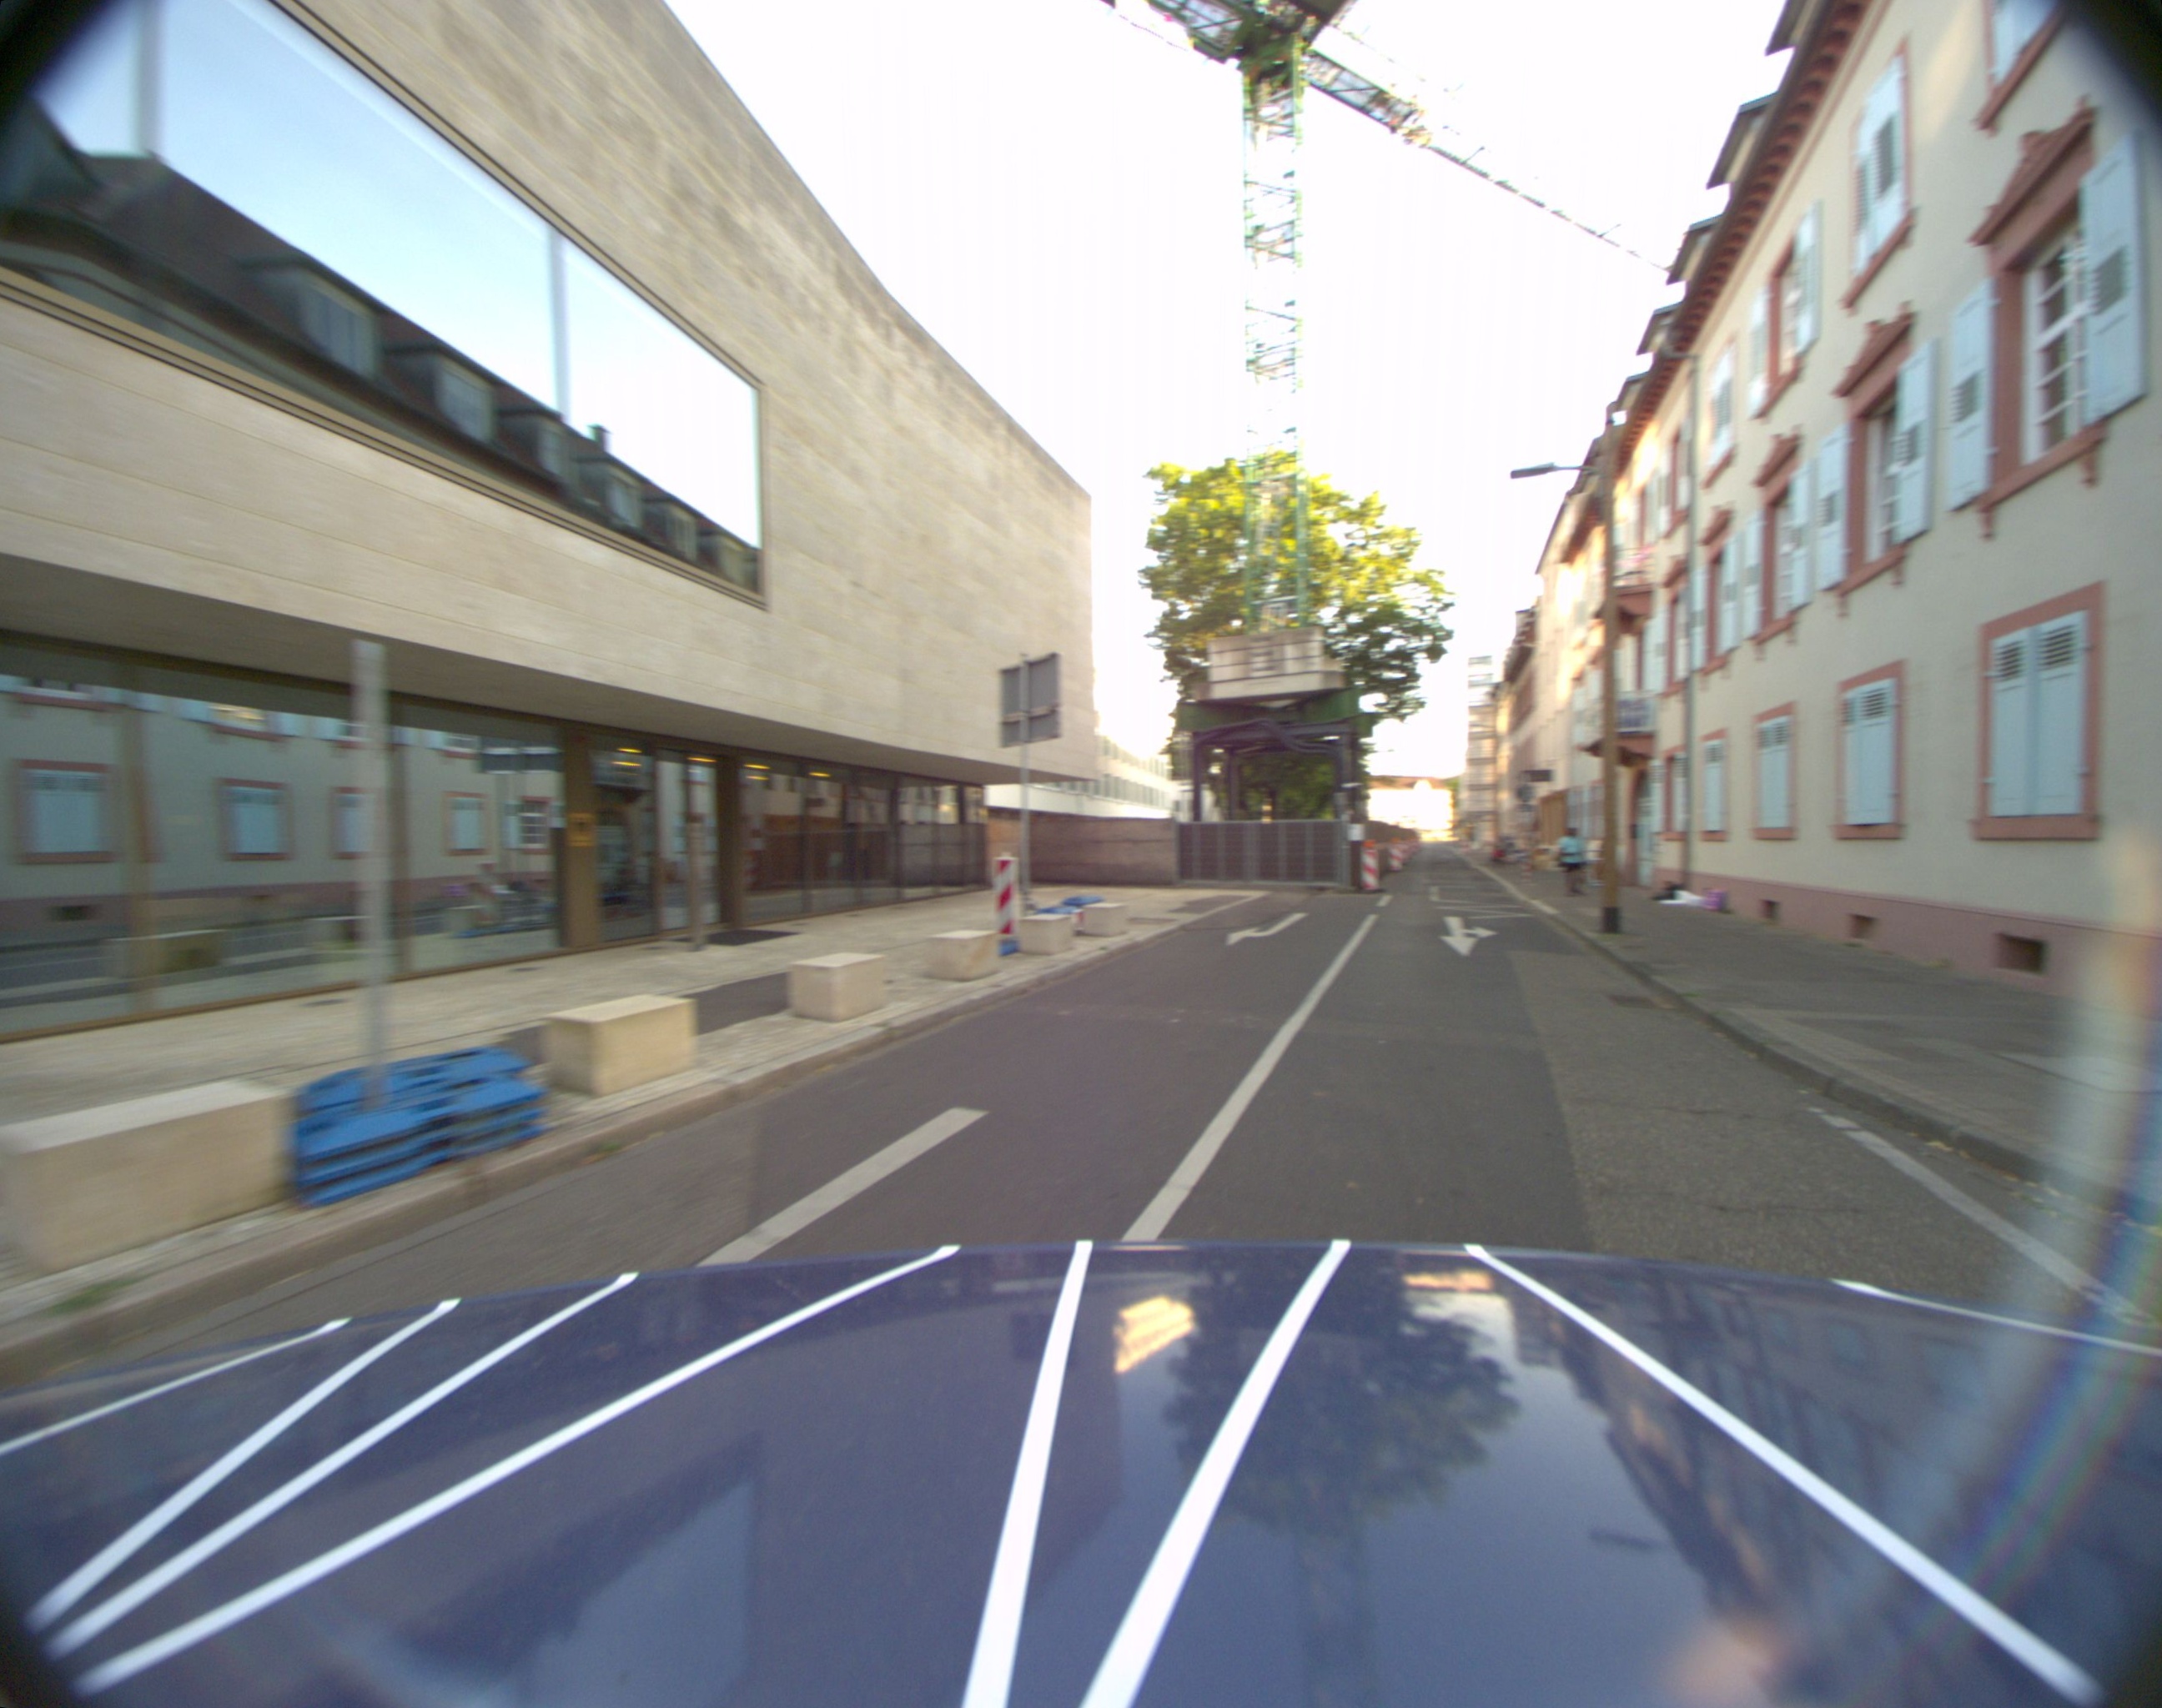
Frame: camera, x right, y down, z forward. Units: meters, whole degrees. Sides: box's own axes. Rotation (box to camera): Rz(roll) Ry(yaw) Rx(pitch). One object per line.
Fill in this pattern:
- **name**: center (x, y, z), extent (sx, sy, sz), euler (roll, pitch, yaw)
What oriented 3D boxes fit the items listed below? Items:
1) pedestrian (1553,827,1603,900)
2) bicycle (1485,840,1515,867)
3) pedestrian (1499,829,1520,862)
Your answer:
- **pedestrian**: center (11.903, 0.226, 18.209), extent (0.825, 1.687, 0.650), euler (-3, 0, 23)
- **bicycle**: center (19.117, -0.016, 34.636), extent (1.611, 1.163, 0.658), euler (-2, 1, -40)
- **pedestrian**: center (21.878, -0.439, 38.787), extent (0.825, 1.687, 0.650), euler (-1, 1, 23)
